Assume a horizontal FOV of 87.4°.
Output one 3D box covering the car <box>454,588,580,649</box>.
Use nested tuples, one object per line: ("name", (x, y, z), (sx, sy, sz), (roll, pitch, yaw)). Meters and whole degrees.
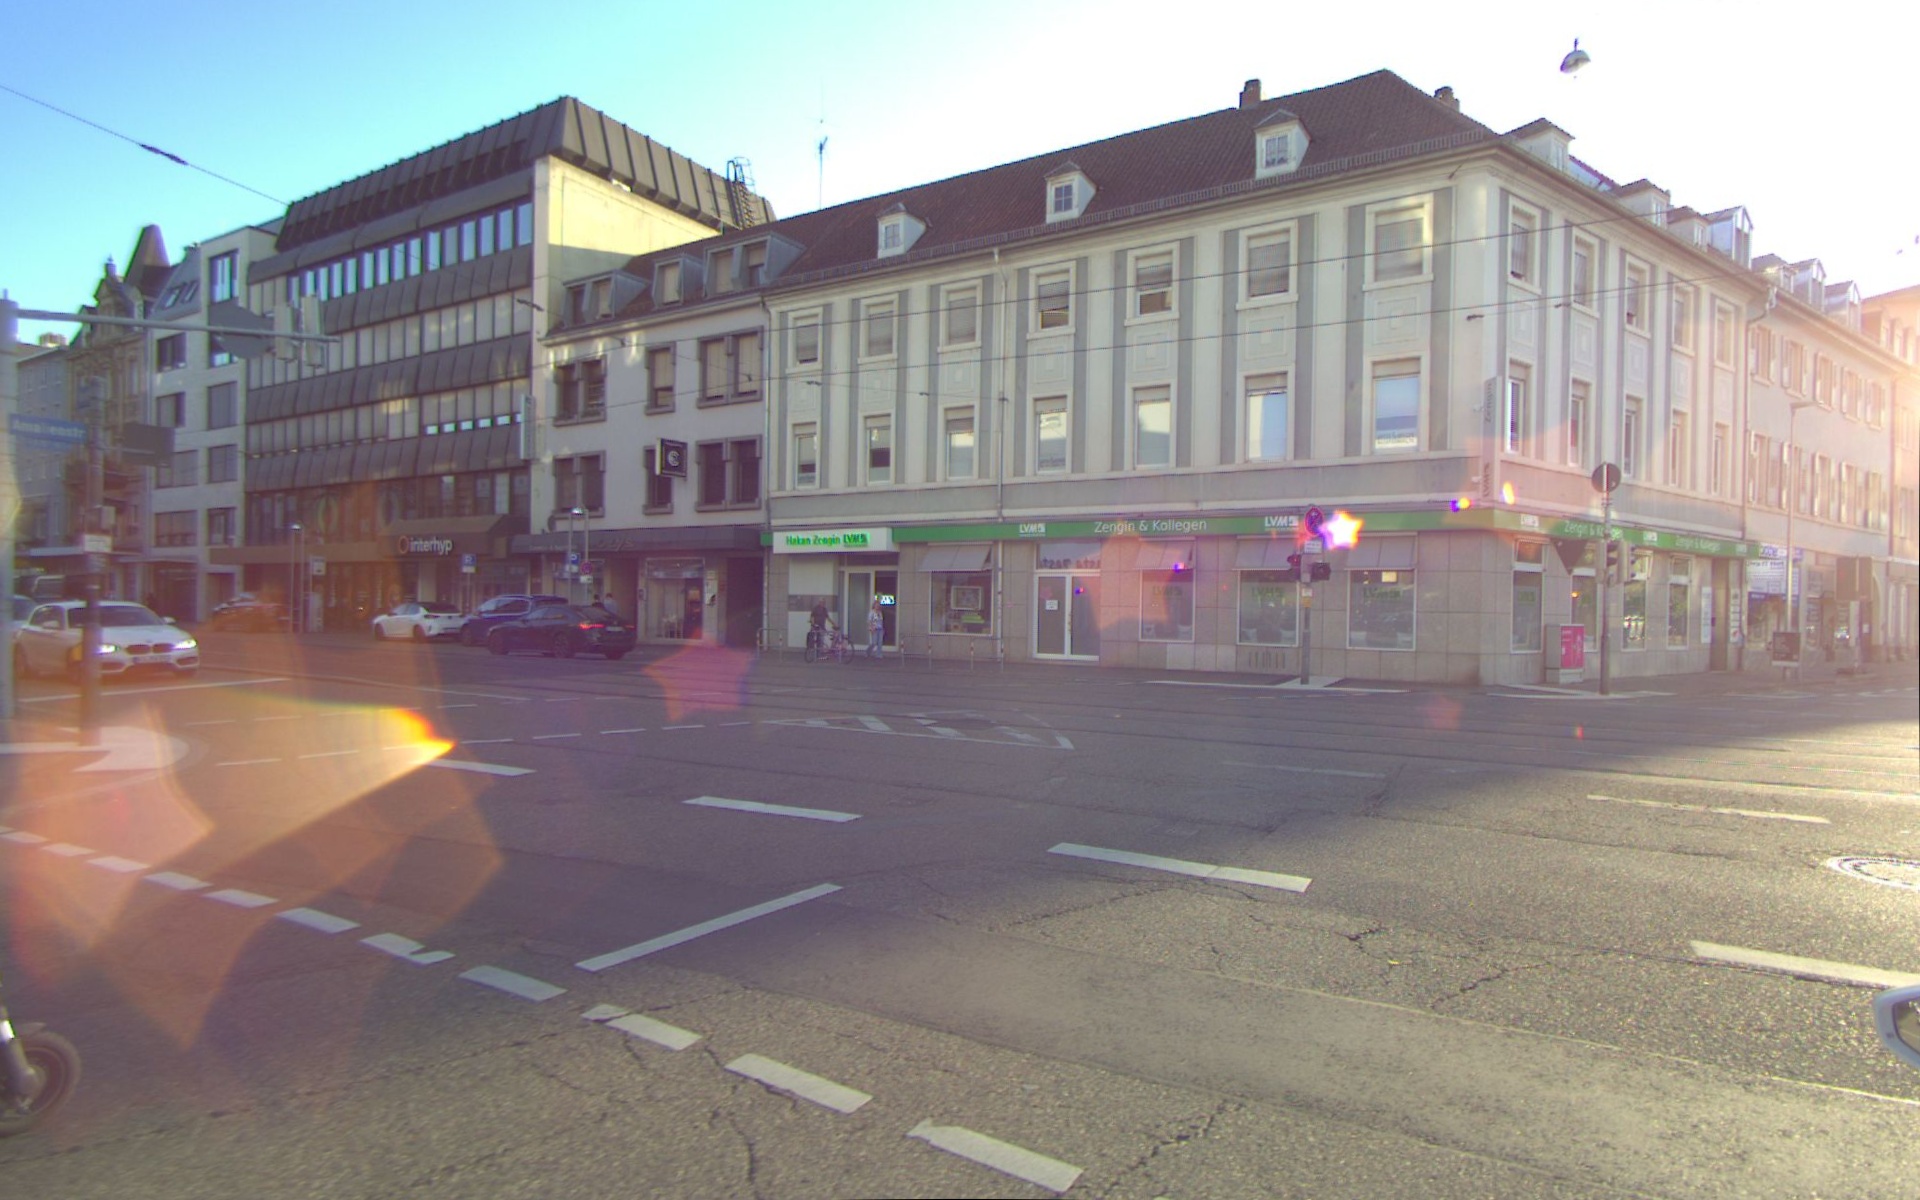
("car", (-14.799, 0.556, 33.522), (4.057, 1.820, 1.912), (2, 2, 32))

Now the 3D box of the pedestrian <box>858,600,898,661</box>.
("pedestrian", (-2.285, 0.826, 28.028), (0.821, 1.662, 0.804), (0, 1, -42))

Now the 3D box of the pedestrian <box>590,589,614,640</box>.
("pedestrian", (-12.309, 0.483, 34.528), (0.573, 1.707, 0.509), (3, 1, 31))

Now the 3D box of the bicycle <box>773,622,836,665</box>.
("bicycle", (-4.088, 1.143, 26.566), (0.491, 1.073, 1.734), (2, 0, 40))

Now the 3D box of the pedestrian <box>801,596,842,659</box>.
("pedestrian", (-3.914, 0.768, 28.446), (0.799, 1.752, 0.826), (1, 1, 32))

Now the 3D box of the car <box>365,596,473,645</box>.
("car", (-19.630, 0.721, 36.400), (3.930, 1.645, 1.698), (1, 0, 32))

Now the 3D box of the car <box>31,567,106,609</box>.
("car", (-48.091, -0.642, 54.150), (3.931, 2.040, 1.995), (3, 1, 33))

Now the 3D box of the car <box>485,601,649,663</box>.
("car", (-10.596, 0.792, 27.000), (4.465, 1.500, 1.891), (1, 0, 33))

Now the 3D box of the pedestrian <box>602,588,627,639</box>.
("pedestrian", (-12.029, 0.473, 34.999), (0.590, 1.757, 0.515), (3, 1, 32))

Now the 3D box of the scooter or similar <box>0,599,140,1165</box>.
("scooter or similar", (-2.880, 0.676, 2.148), (0.537, 1.368, 1.662), (1, 0, 38))

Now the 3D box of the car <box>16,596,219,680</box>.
("car", (-15.638, 0.630, 18.626), (3.682, 1.377, 1.911), (1, 1, 33))

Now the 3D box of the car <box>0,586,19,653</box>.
("car", (-25.780, 0.445, 25.410), (3.932, 1.662, 1.995), (1, 0, 33))

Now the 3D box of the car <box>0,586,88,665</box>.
("car", (-21.187, 0.507, 22.195), (3.934, 1.499, 1.994), (3, 1, 35))

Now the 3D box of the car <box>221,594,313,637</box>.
("car", (-29.540, 0.649, 42.774), (3.931, 1.578, 1.816), (3, 1, 32))
